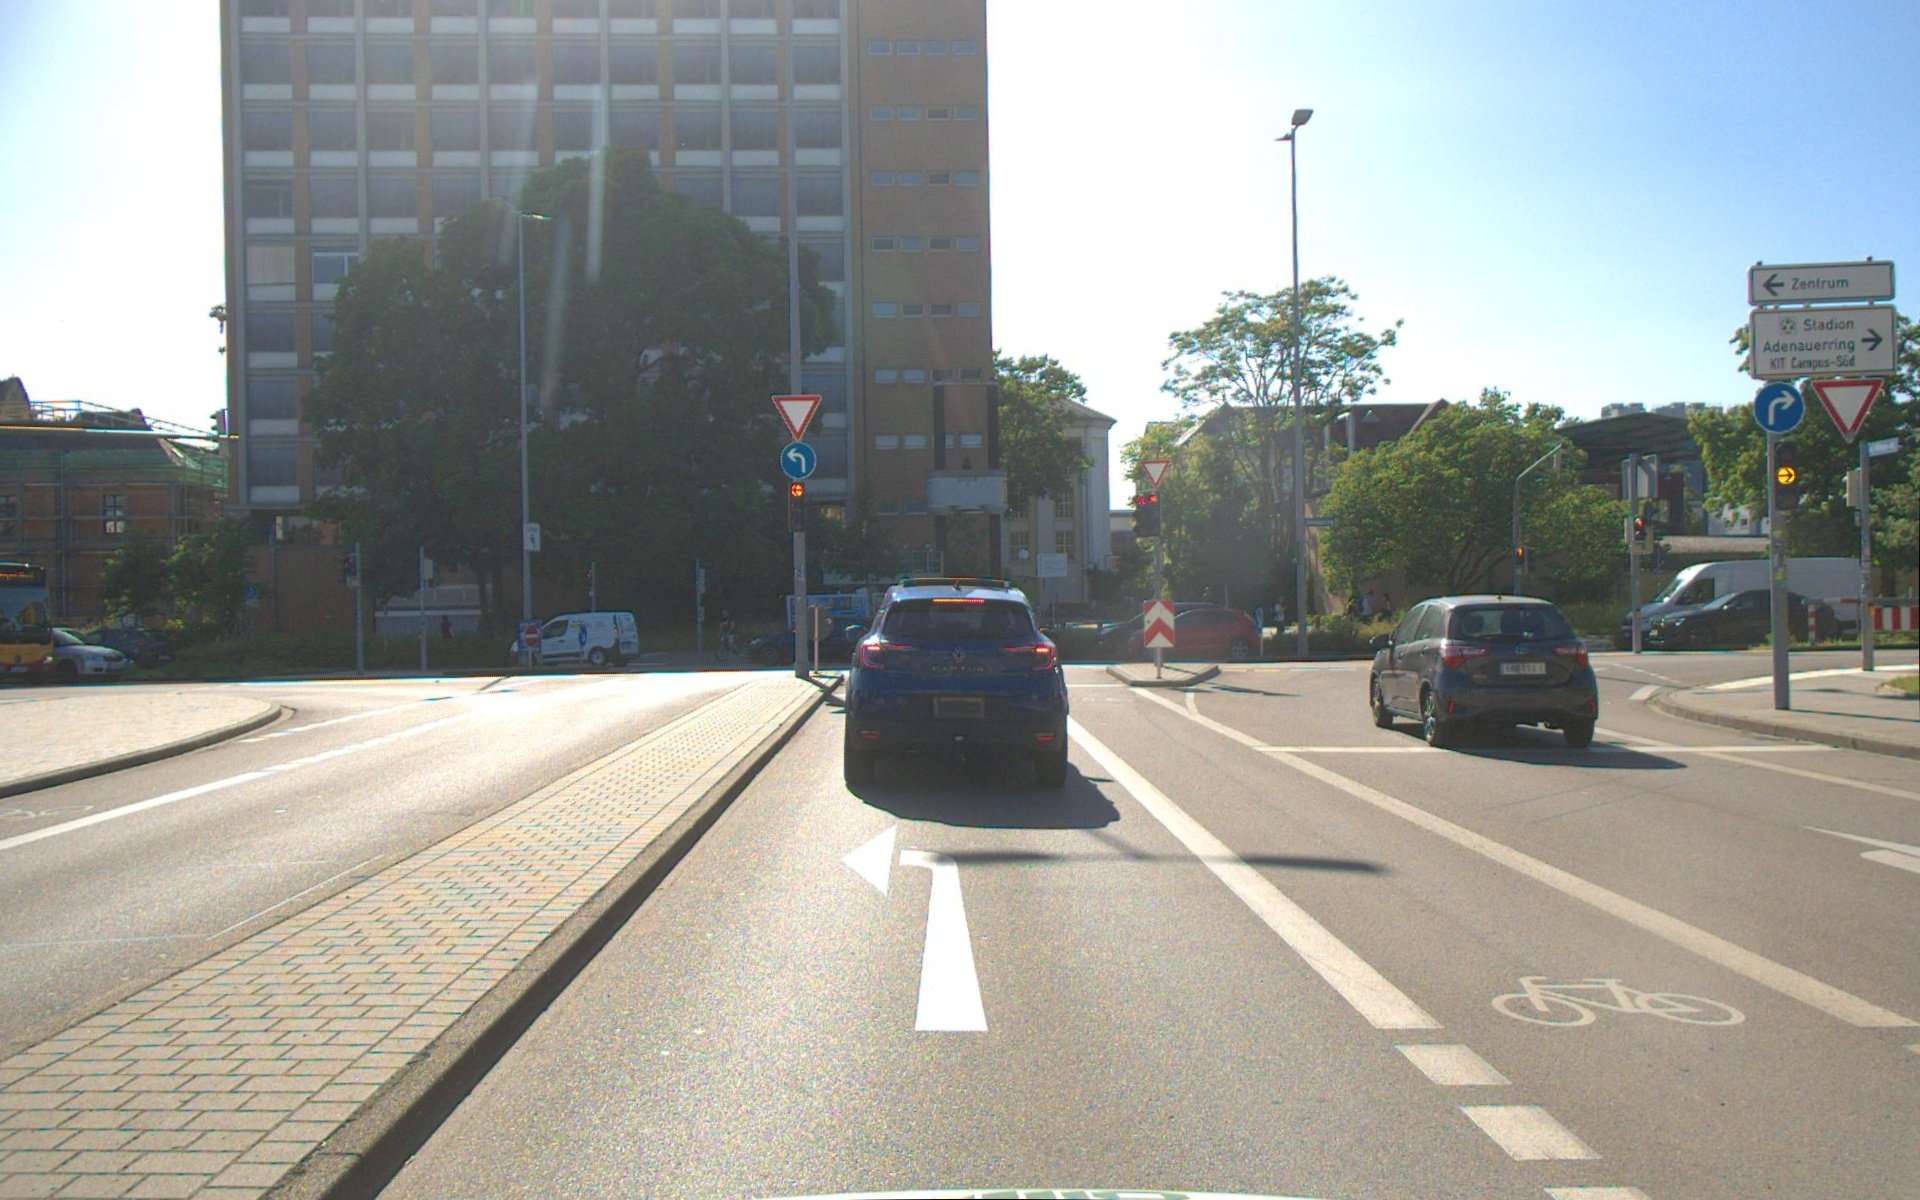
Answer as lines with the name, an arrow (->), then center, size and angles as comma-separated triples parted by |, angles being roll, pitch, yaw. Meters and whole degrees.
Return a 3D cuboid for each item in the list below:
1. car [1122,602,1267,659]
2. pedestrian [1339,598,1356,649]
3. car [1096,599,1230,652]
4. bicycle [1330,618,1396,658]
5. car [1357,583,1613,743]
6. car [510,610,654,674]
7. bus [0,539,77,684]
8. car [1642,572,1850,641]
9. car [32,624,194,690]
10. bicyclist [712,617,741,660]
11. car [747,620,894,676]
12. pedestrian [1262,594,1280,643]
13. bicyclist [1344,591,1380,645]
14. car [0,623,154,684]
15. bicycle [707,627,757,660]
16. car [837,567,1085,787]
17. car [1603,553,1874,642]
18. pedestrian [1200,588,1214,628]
car -> 6.483, 0.843, 46.107 | 3.902, 1.490, 2.001 | -1, -1, 6
pedestrian -> 13.022, 0.781, 55.590 | 0.544, 1.699, 0.477 | -1, -2, 14
car -> 6.080, 0.758, 49.723 | 3.902, 1.489, 2.001 | -1, 0, 6
bicycle -> 14.155, 1.343, 58.185 | 0.839, 1.394, 2.435 | 0, -2, -28
car -> 5.616, 0.657, 18.152 | 1.719, 1.569, 3.659 | 0, -1, 1
car -> -12.583, 1.398, 55.161 | 4.255, 2.049, 2.001 | -1, -2, 12
bus -> -28.388, 0.405, 41.924 | 12.143, 3.456, 2.884 | -1, -2, 17
car -> 21.726, 0.183, 45.866 | 4.750, 1.777, 2.075 | -1, 0, 4
car -> -27.452, 1.859, 53.683 | 4.279, 2.049, 2.001 | -1, -2, 8
bicyclist -> -8.106, 1.338, 57.377 | 0.810, 1.469, 0.612 | -1, 0, -37
car -> -4.148, 1.440, 49.450 | 4.027, 1.614, 1.881 | -1, -2, 10
pedestrian -> 10.815, 0.649, 57.492 | 0.548, 1.699, 0.477 | -1, -2, 14
bicyclist -> 14.140, 0.646, 58.201 | 0.839, 1.879, 0.851 | 0, -2, -29
car -> -23.916, 1.423, 43.931 | 4.303, 1.548, 1.971 | -1, -2, 16
bicycle -> -7.926, 1.508, 57.524 | 1.655, 1.112, 0.602 | -1, 0, -39
car -> -0.122, 0.592, 14.192 | 1.788, 1.628, 3.654 | 0, -1, -6
car -> 23.034, -0.075, 49.152 | 7.003, 2.465, 2.075 | -1, 0, 4
pedestrian -> 10.859, 0.356, 72.631 | 0.564, 1.699, 0.562 | -1, -2, 9
